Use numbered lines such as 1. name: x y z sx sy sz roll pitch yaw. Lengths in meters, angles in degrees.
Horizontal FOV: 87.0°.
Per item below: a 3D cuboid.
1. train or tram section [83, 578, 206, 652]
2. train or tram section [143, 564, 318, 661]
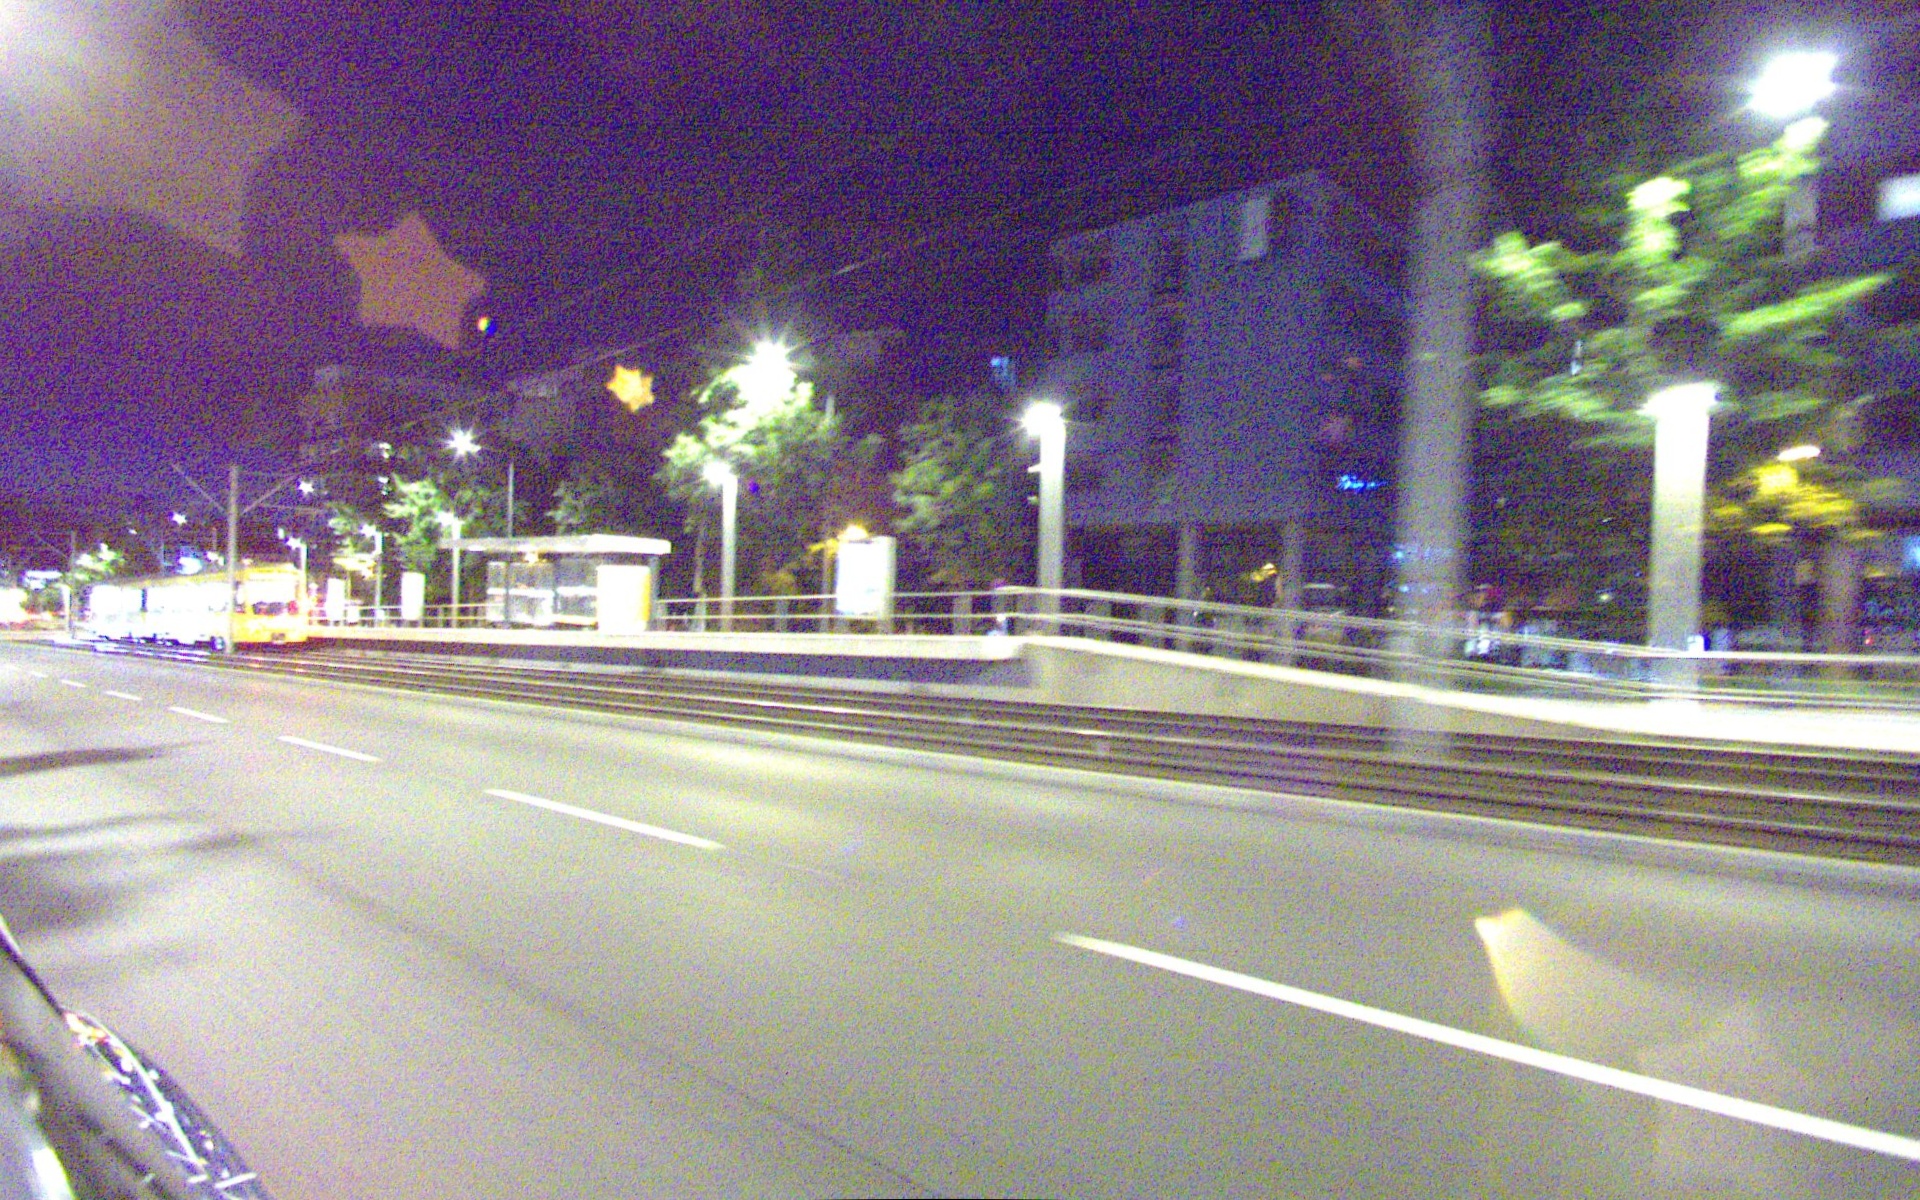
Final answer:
1. train or tram section: -48.933 0.938 60.307 19.358 3.875 2.709 -1 -1 42
2. train or tram section: -34.778 0.643 47.604 18.663 3.856 2.729 -1 -1 42
